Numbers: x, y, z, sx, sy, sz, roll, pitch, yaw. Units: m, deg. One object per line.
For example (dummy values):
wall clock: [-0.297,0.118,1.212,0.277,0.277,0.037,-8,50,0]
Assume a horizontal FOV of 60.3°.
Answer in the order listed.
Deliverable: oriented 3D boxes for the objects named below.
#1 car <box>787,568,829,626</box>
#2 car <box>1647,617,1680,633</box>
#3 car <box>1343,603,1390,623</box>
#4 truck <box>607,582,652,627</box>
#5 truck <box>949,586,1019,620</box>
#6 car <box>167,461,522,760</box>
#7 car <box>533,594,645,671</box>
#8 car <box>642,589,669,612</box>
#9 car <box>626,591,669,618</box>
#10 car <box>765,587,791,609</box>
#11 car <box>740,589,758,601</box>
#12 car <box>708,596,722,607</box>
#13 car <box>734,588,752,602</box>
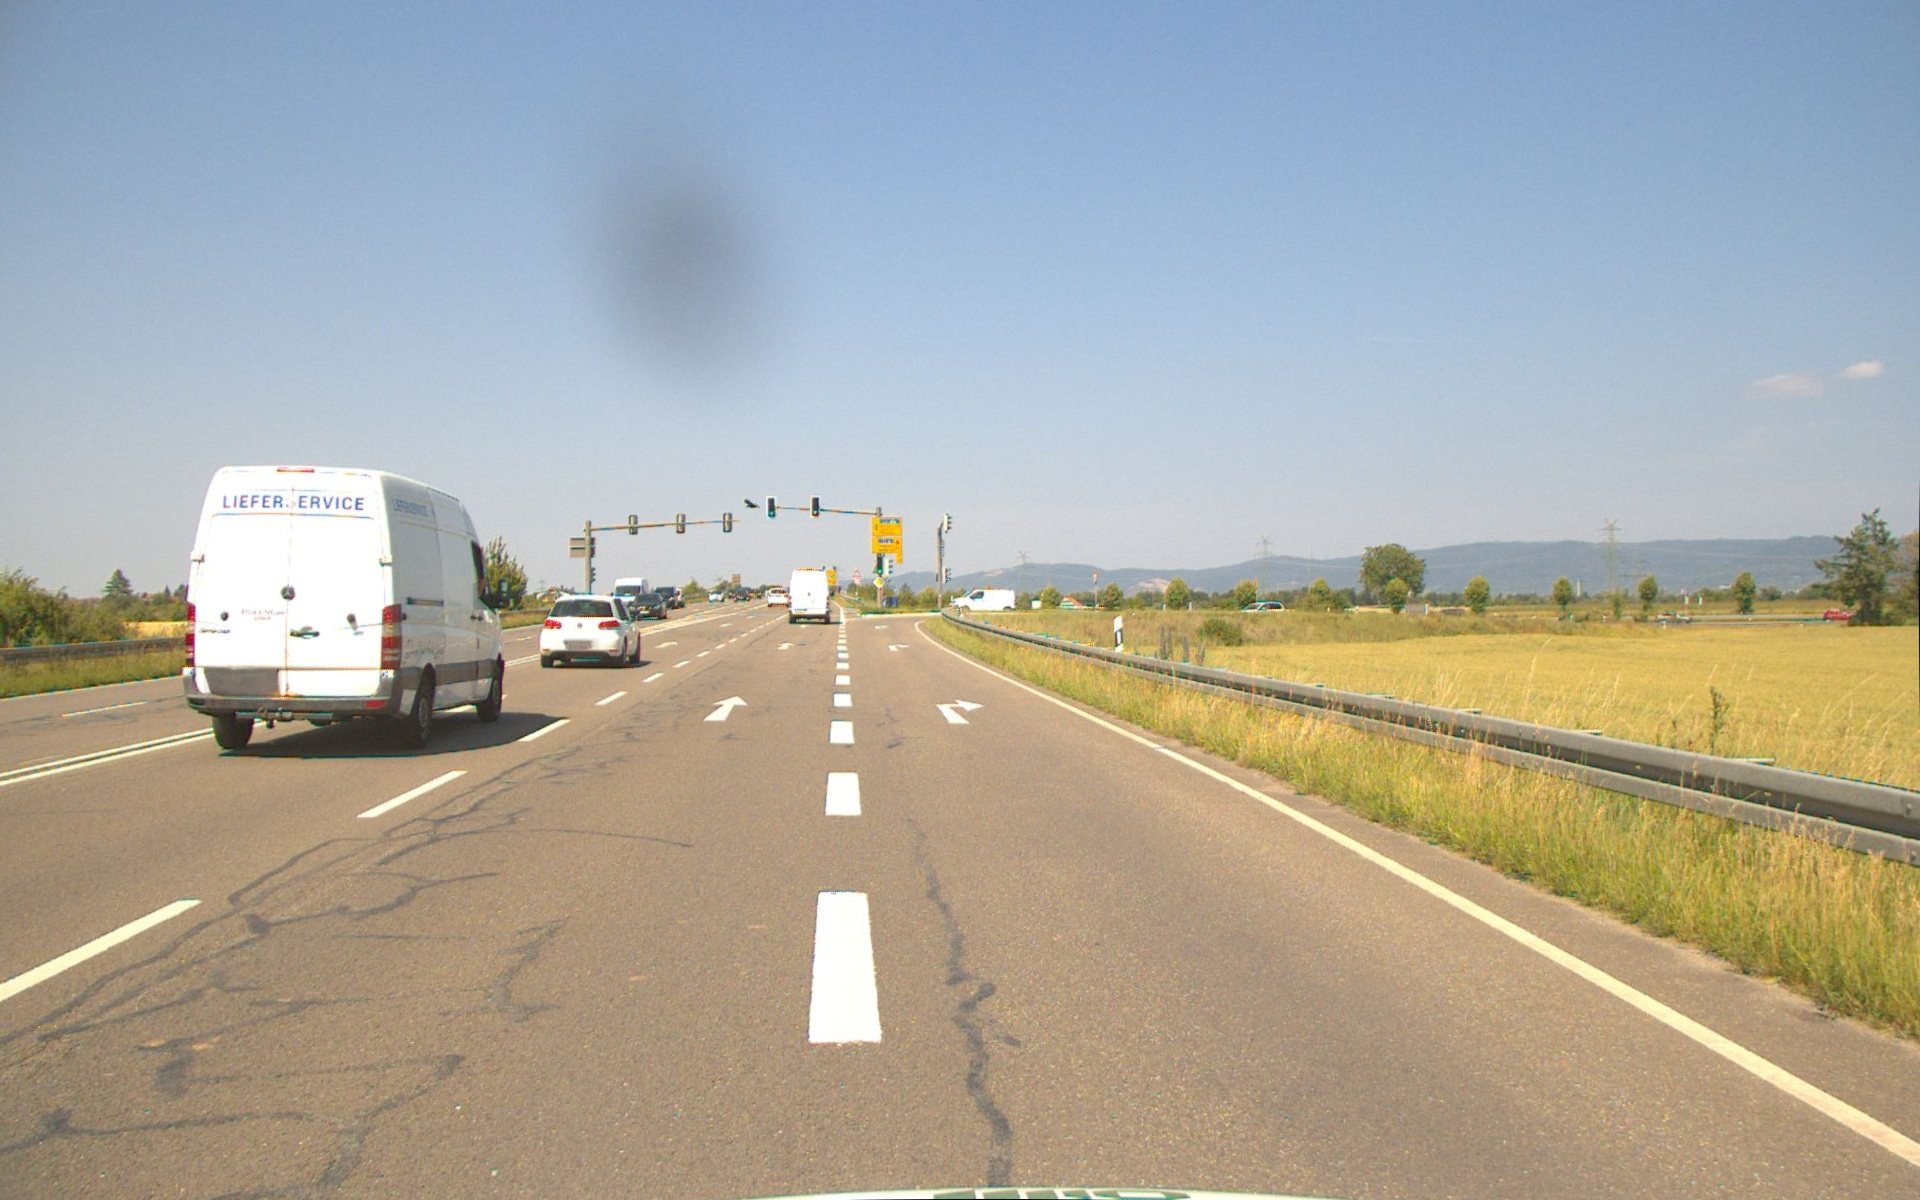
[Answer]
car: [-7.378,-0.128,80.601,1.954,2.742,4.964,0,0,-5]
car: [72.789,2.580,171.063,3.443,1.512,1.629,2,-1,-35]
car: [32.605,1.075,132.617,3.434,1.512,1.634,2,-1,-29]
truck: [-22.772,0.322,114.167,2.251,3.009,5.279,0,-1,-3]
truck: [1.769,0.215,121.094,4.771,2.361,1.989,2,-1,-19]
car: [-6.255,0.108,17.661,1.999,2.666,5.736,0,0,-4]
car: [-7.883,0.650,35.458,1.764,1.534,4.192,0,0,-5]
car: [-25.932,0.049,140.905,1.836,1.920,3.330,1,-1,-3]
car: [-17.310,0.273,91.851,1.820,1.448,3.997,1,-1,-3]
car: [-15.250,-0.122,138.837,1.954,1.733,4.271,1,-1,-4]
car: [-29.756,-0.676,233.560,1.953,1.646,3.999,1,-1,-1]
car: [-30.593,0.149,206.499,1.433,1.296,3.330,1,-1,-3]
car: [-26.266,-0.575,200.257,1.602,1.512,3.998,1,-1,-1]
